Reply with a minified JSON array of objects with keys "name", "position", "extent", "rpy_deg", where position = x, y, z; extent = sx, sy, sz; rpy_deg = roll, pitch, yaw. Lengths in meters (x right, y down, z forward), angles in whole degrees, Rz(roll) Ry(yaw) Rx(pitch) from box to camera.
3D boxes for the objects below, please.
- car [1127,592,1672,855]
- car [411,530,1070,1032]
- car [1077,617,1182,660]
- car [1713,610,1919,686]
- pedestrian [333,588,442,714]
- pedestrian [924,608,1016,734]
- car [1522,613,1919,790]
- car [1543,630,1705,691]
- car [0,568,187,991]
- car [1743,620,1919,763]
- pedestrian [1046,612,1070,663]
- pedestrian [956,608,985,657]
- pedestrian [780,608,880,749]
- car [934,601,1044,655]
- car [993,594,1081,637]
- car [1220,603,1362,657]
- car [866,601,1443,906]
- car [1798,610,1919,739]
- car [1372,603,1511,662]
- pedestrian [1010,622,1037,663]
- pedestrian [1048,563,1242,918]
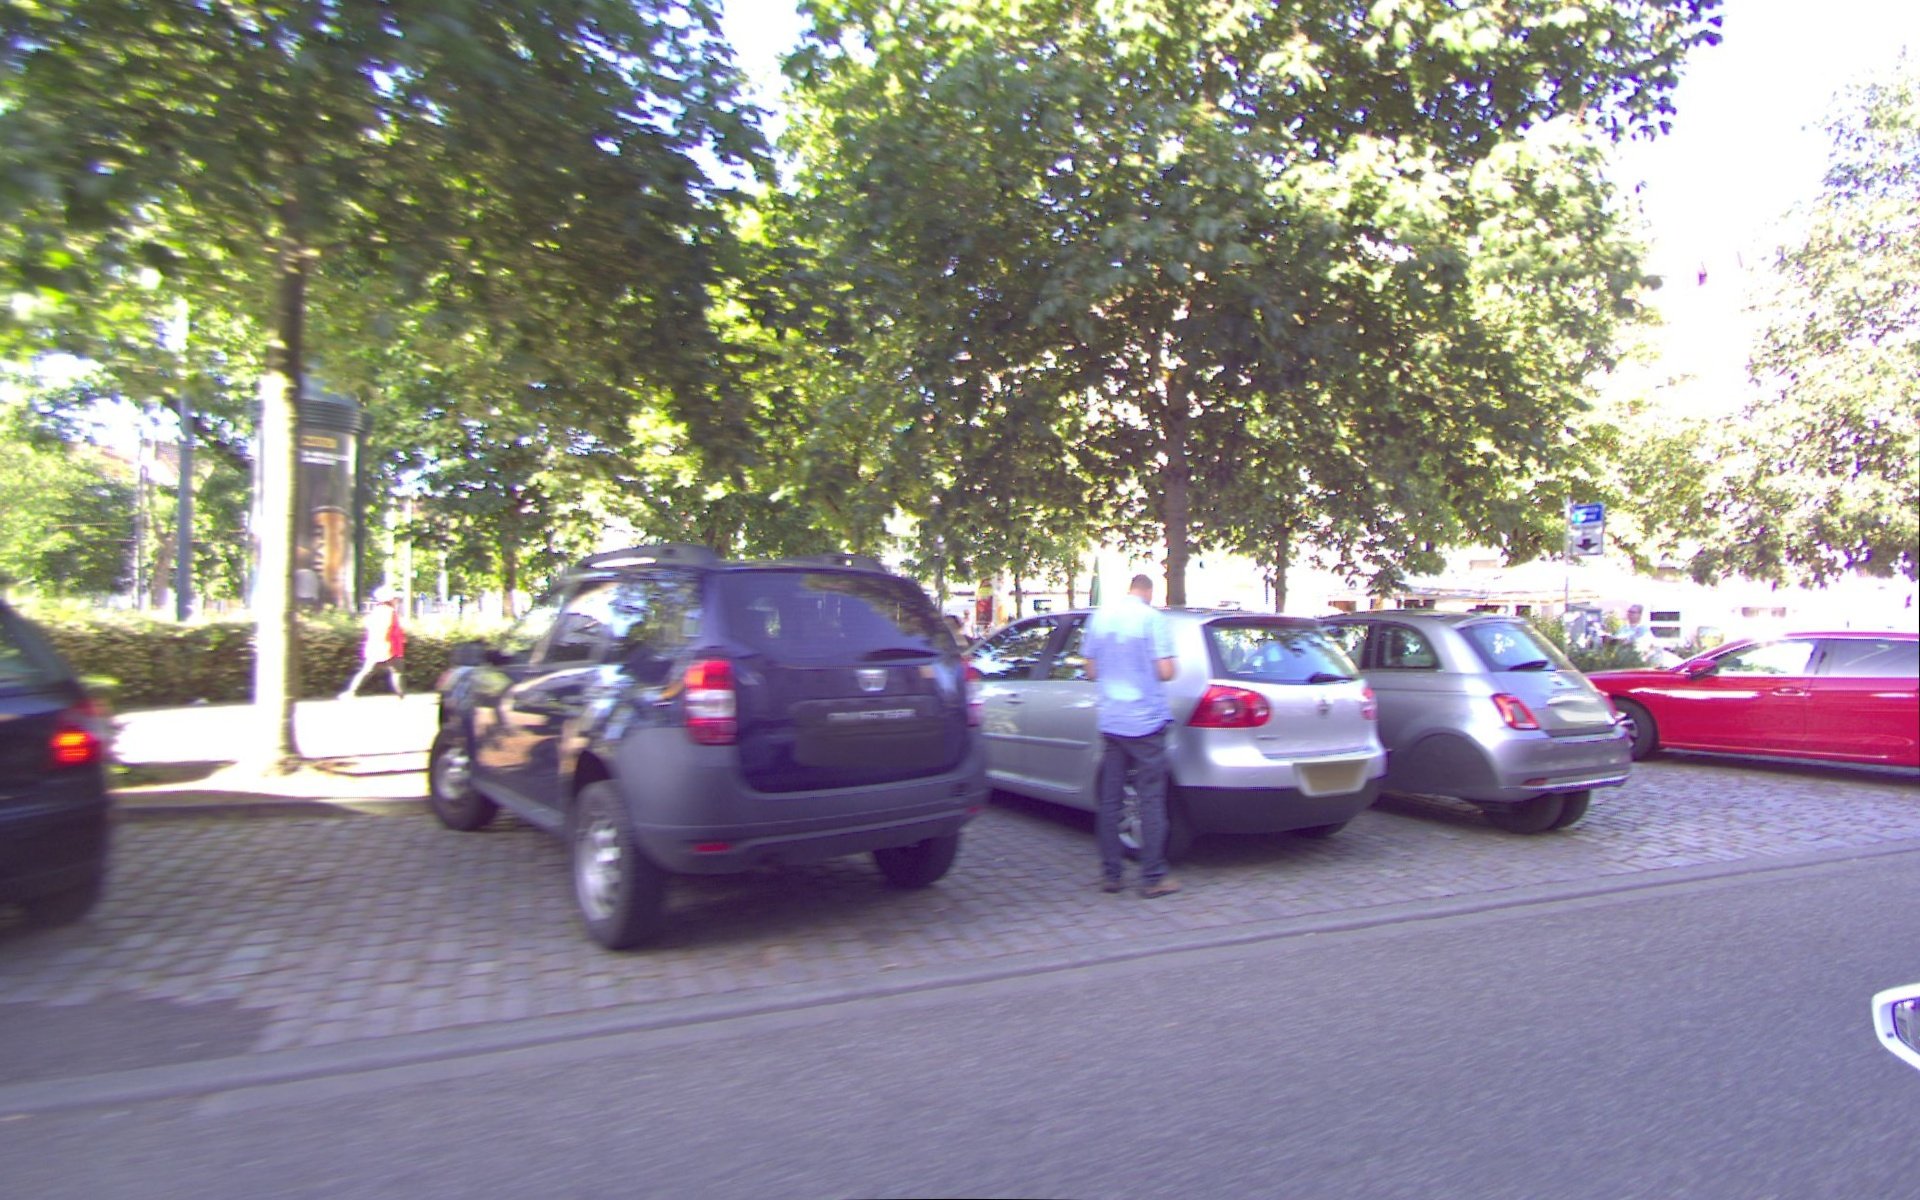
[{"name":"car","position":[3.305,0.784,8.405],"extent":[1.727,1.619,3.972],"rpy_deg":[2,0,-27]},{"name":"car","position":[-1.509,0.591,5.553],"extent":[1.983,1.690,3.954],"rpy_deg":[1,0,-39]},{"name":"car","position":[8.213,1.865,49.066],"extent":[4.806,1.828,1.897],"rpy_deg":[2,0,45]},{"name":"car","position":[23.979,1.290,27.541],"extent":[5.201,1.824,2.153],"rpy_deg":[2,0,40]},{"name":"pedestrian","position":[-7.376,0.636,12.959],"extent":[0.757,1.542,0.955],"rpy_deg":[2,0,35]},{"name":"pedestrian","position":[0.106,0.737,10.760],"extent":[0.695,1.276,0.639],"rpy_deg":[2,0,-39]},{"name":"car","position":[8.716,0.985,10.375],"extent":[4.782,1.508,1.755],"rpy_deg":[2,0,43]},{"name":"car","position":[20.463,1.810,31.023],"extent":[3.865,1.585,1.969],"rpy_deg":[2,0,44]},{"name":"car","position":[-5.240,0.569,4.231],"extent":[3.930,1.489,1.871],"rpy_deg":[2,0,32]},{"name":"car","position":[11.514,1.074,11.288],"extent":[4.167,1.496,1.730],"rpy_deg":[2,0,36]},{"name":"pedestrian","position":[3.047,1.158,31.181],"extent":[0.548,1.567,0.672],"rpy_deg":[2,0,-7]},{"name":"pedestrian","position":[0.330,0.989,30.855],"extent":[0.549,1.484,0.670],"rpy_deg":[2,0,38]},{"name":"pedestrian","position":[-1.269,0.745,9.801],"extent":[0.695,1.291,0.639],"rpy_deg":[2,0,-39]},{"name":"car","position":[1.340,1.297,48.369],"extent":[5.279,2.345,1.988],"rpy_deg":[2,0,44]},{"name":"car","position":[4.111,0.817,54.199],"extent":[4.771,2.039,1.542],"rpy_deg":[2,-5,45]},{"name":"car","position":[14.156,1.261,43.232],"extent":[5.510,2.040,1.809],"rpy_deg":[2,0,40]},{"name":"car","position":[1.059,0.798,7.185],"extent":[1.784,1.467,3.963],"rpy_deg":[2,0,-33]},{"name":"car","position":[13.572,1.027,13.042],"extent":[3.934,1.607,1.825],"rpy_deg":[2,0,35]},{"name":"car","position":[16.466,1.077,34.450],"extent":[3.865,1.794,1.969],"rpy_deg":[2,0,44]},{"name":"pedestrian","position":[2.035,1.356,32.217],"extent":[0.552,1.253,0.667],"rpy_deg":[2,0,-31]},{"name":"pedestrian","position":[0.940,0.669,5.186],"extent":[0.639,1.671,0.695],"rpy_deg":[2,0,-30]}]
